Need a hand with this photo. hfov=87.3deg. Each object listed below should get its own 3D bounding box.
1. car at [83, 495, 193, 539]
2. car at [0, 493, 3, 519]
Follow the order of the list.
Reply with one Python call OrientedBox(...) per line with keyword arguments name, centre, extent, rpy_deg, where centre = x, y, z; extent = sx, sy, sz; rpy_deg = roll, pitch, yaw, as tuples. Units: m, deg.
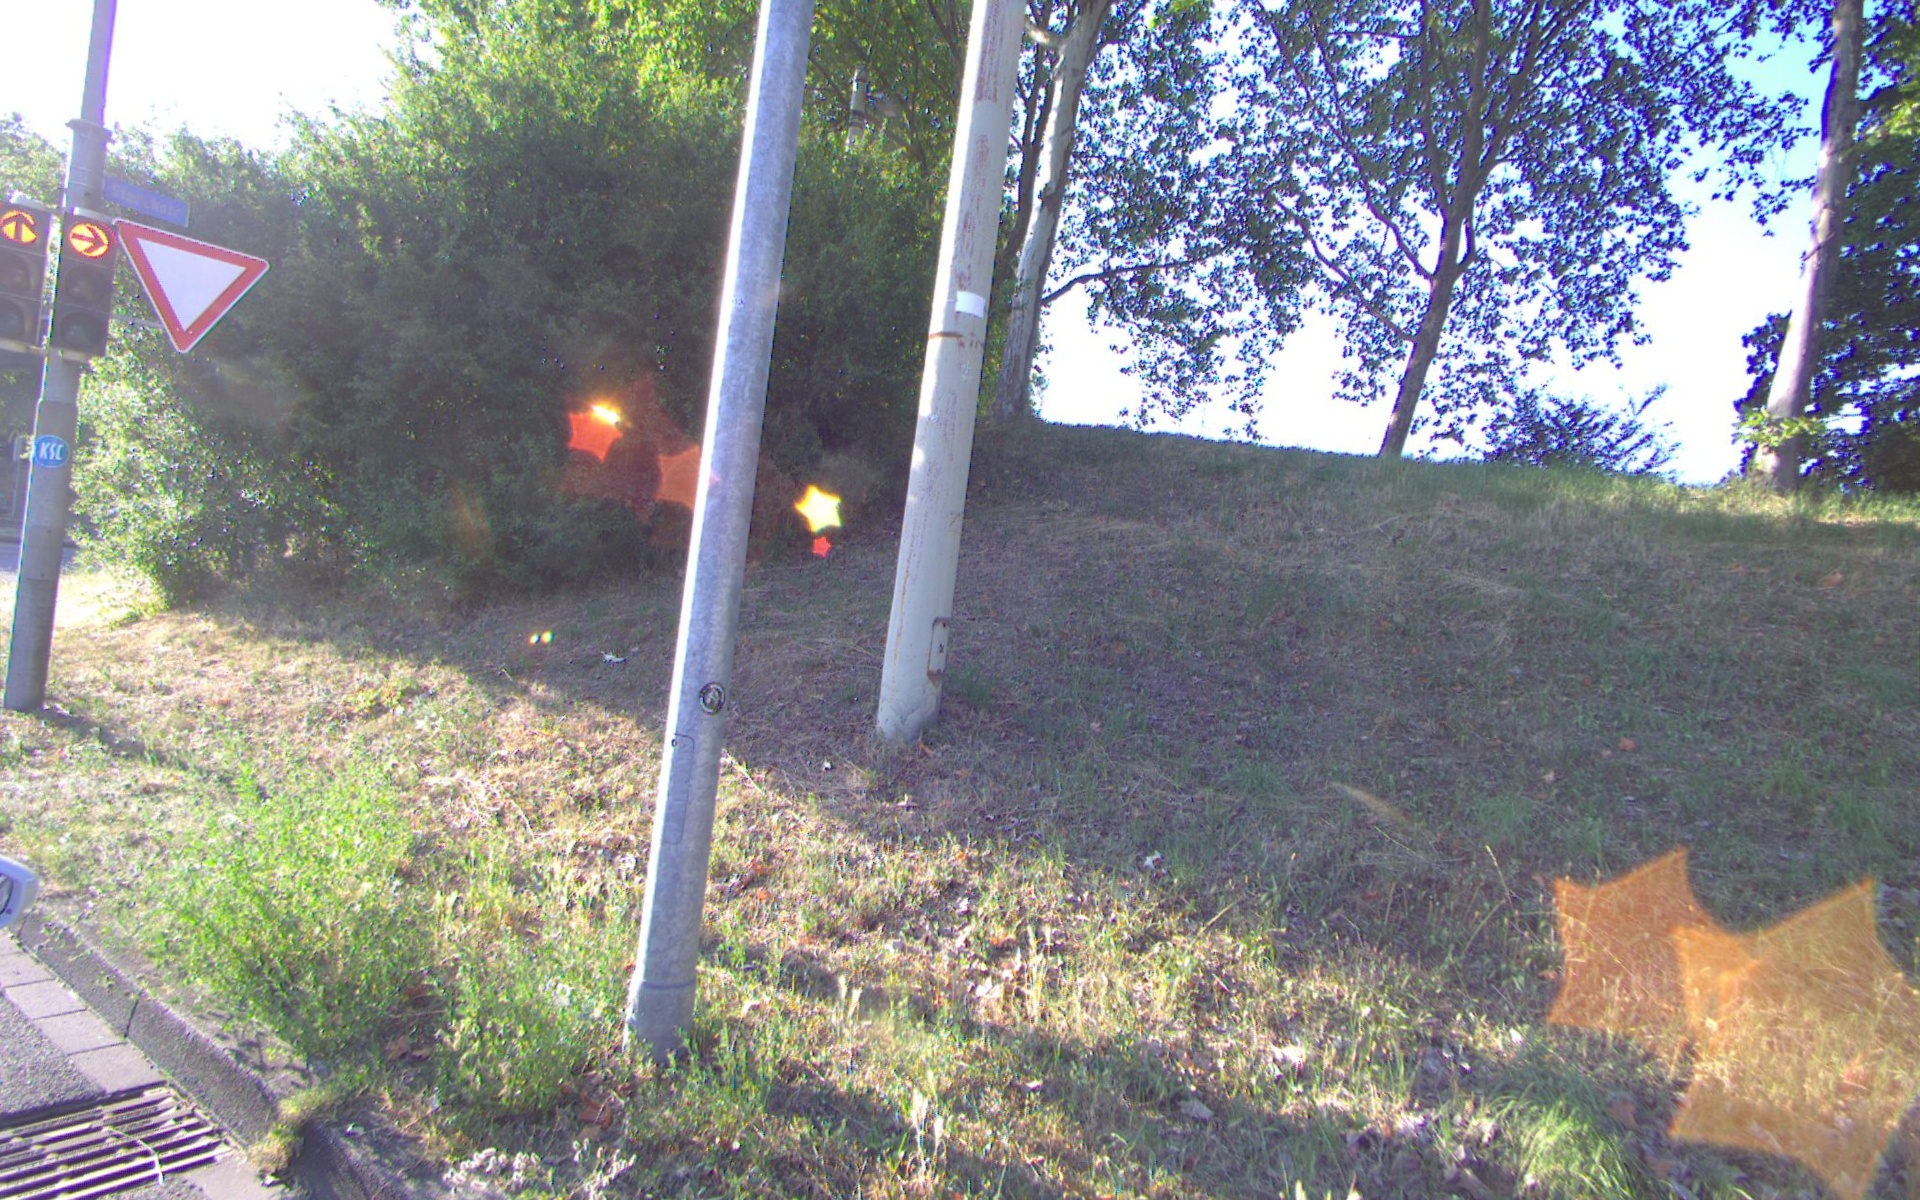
OrientedBox(name="car", centre=(-39.148, -3.912, 48.009), extent=(1.664, 1.439, 3.737), rpy_deg=(7, -1, 13))
OrientedBox(name="car", centre=(-49.136, -4.808, 48.395), extent=(1.669, 1.439, 4.143), rpy_deg=(7, -2, 33))
